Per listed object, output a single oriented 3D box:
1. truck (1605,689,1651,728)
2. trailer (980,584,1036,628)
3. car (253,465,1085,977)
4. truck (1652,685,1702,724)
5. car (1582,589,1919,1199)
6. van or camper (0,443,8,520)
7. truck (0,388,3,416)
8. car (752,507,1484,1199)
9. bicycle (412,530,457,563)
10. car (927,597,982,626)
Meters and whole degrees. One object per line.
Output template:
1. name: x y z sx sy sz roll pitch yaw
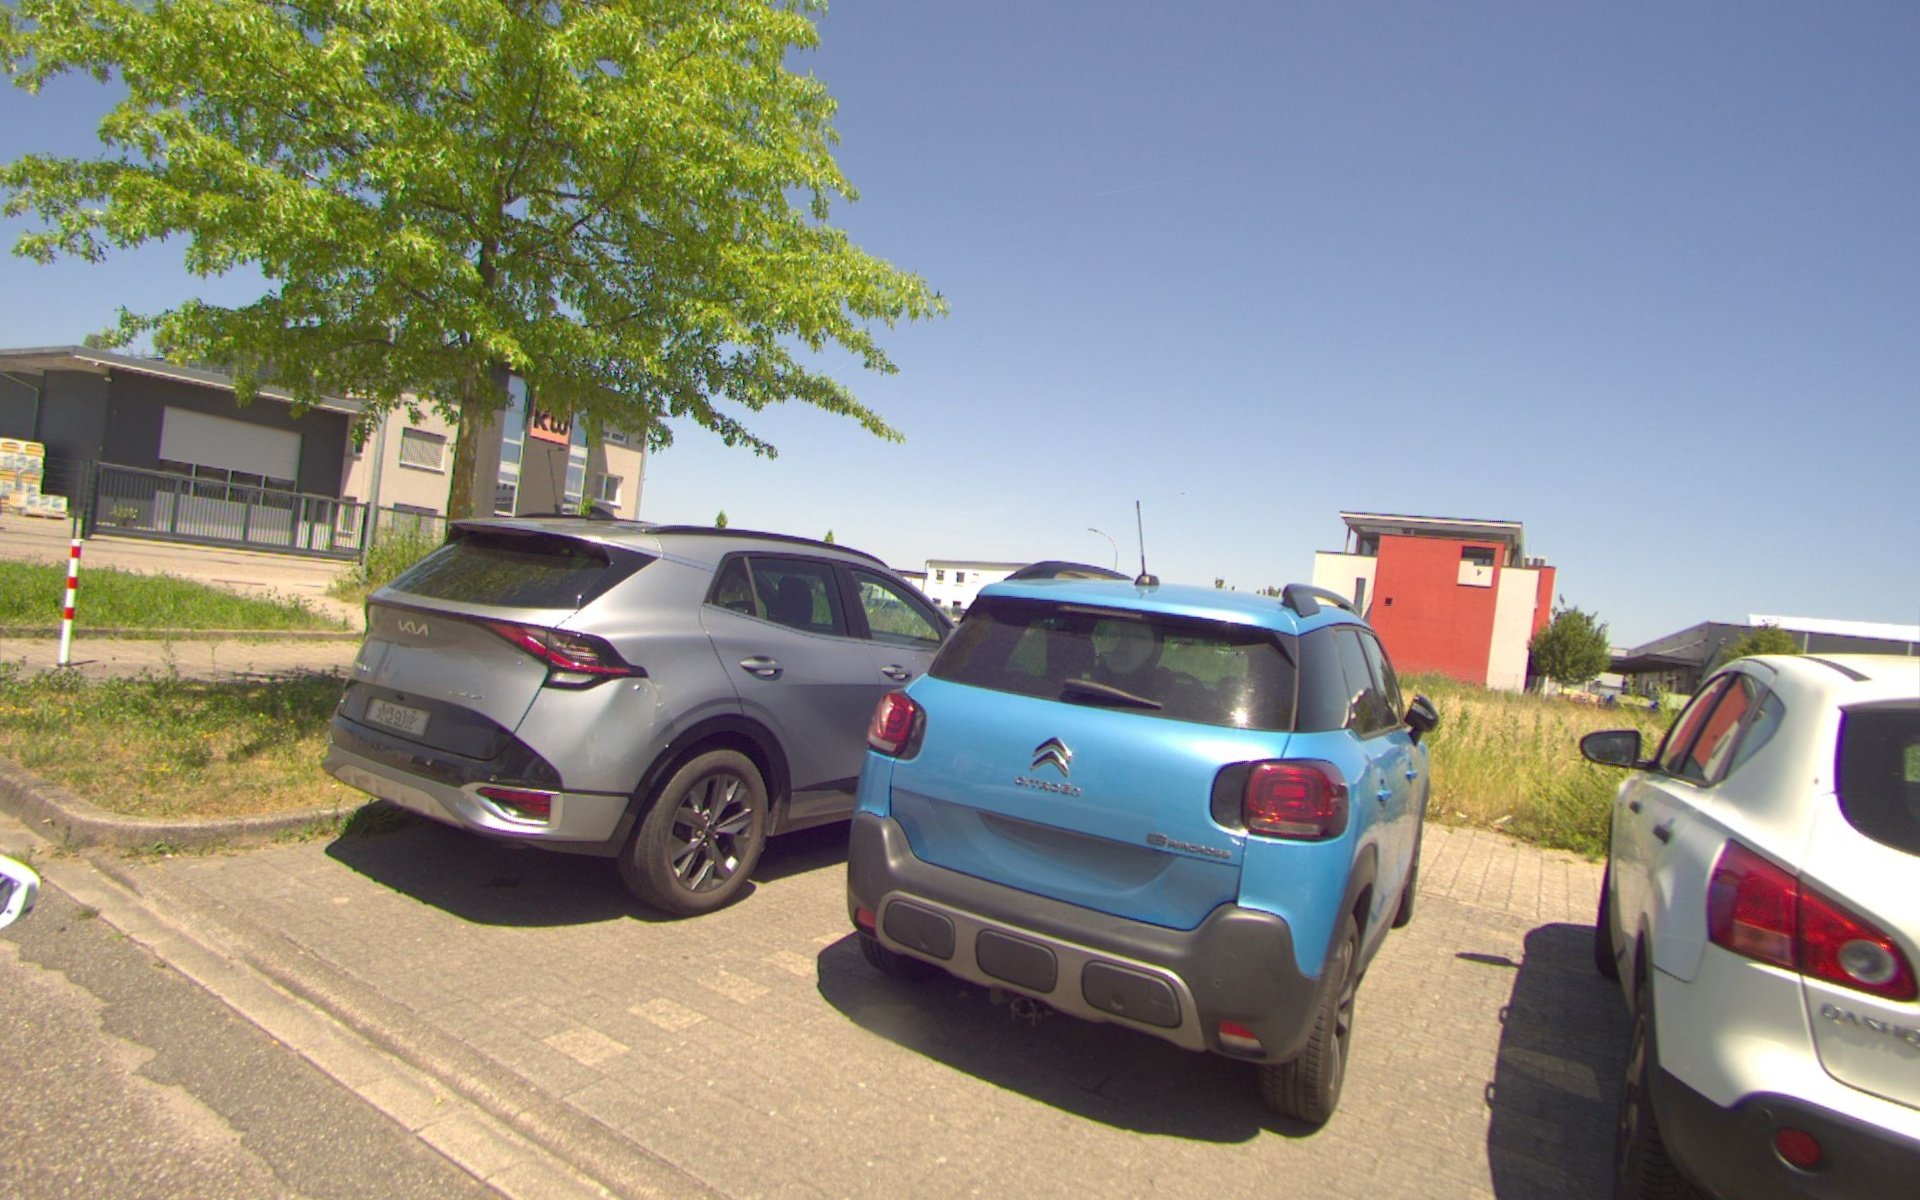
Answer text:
1. truck: 41.876 6.774 63.147 1.966 2.039 4.348 7 0 31
2. trailer: 3.452 0.460 71.786 2.195 2.632 3.993 8 0 30
3. car: -1.093 0.448 5.659 1.820 1.665 4.282 7 1 31
4. truck: 44.428 6.446 62.408 1.966 2.039 3.992 7 0 31
5. car: 3.210 0.984 3.234 1.870 1.628 4.072 6 0 31
6. van or camper: -27.391 -3.321 25.006 1.966 2.190 4.943 9 1 31
7. truck: -35.611 -5.497 33.891 6.819 3.978 2.925 7 1 31
8. car: 1.166 0.720 4.589 1.807 1.665 3.991 7 1 31
9. bicycle: -22.410 -2.270 42.946 0.436 1.200 1.807 7 1 17
10. car: -0.334 0.759 63.706 1.650 1.401 3.634 9 1 32
